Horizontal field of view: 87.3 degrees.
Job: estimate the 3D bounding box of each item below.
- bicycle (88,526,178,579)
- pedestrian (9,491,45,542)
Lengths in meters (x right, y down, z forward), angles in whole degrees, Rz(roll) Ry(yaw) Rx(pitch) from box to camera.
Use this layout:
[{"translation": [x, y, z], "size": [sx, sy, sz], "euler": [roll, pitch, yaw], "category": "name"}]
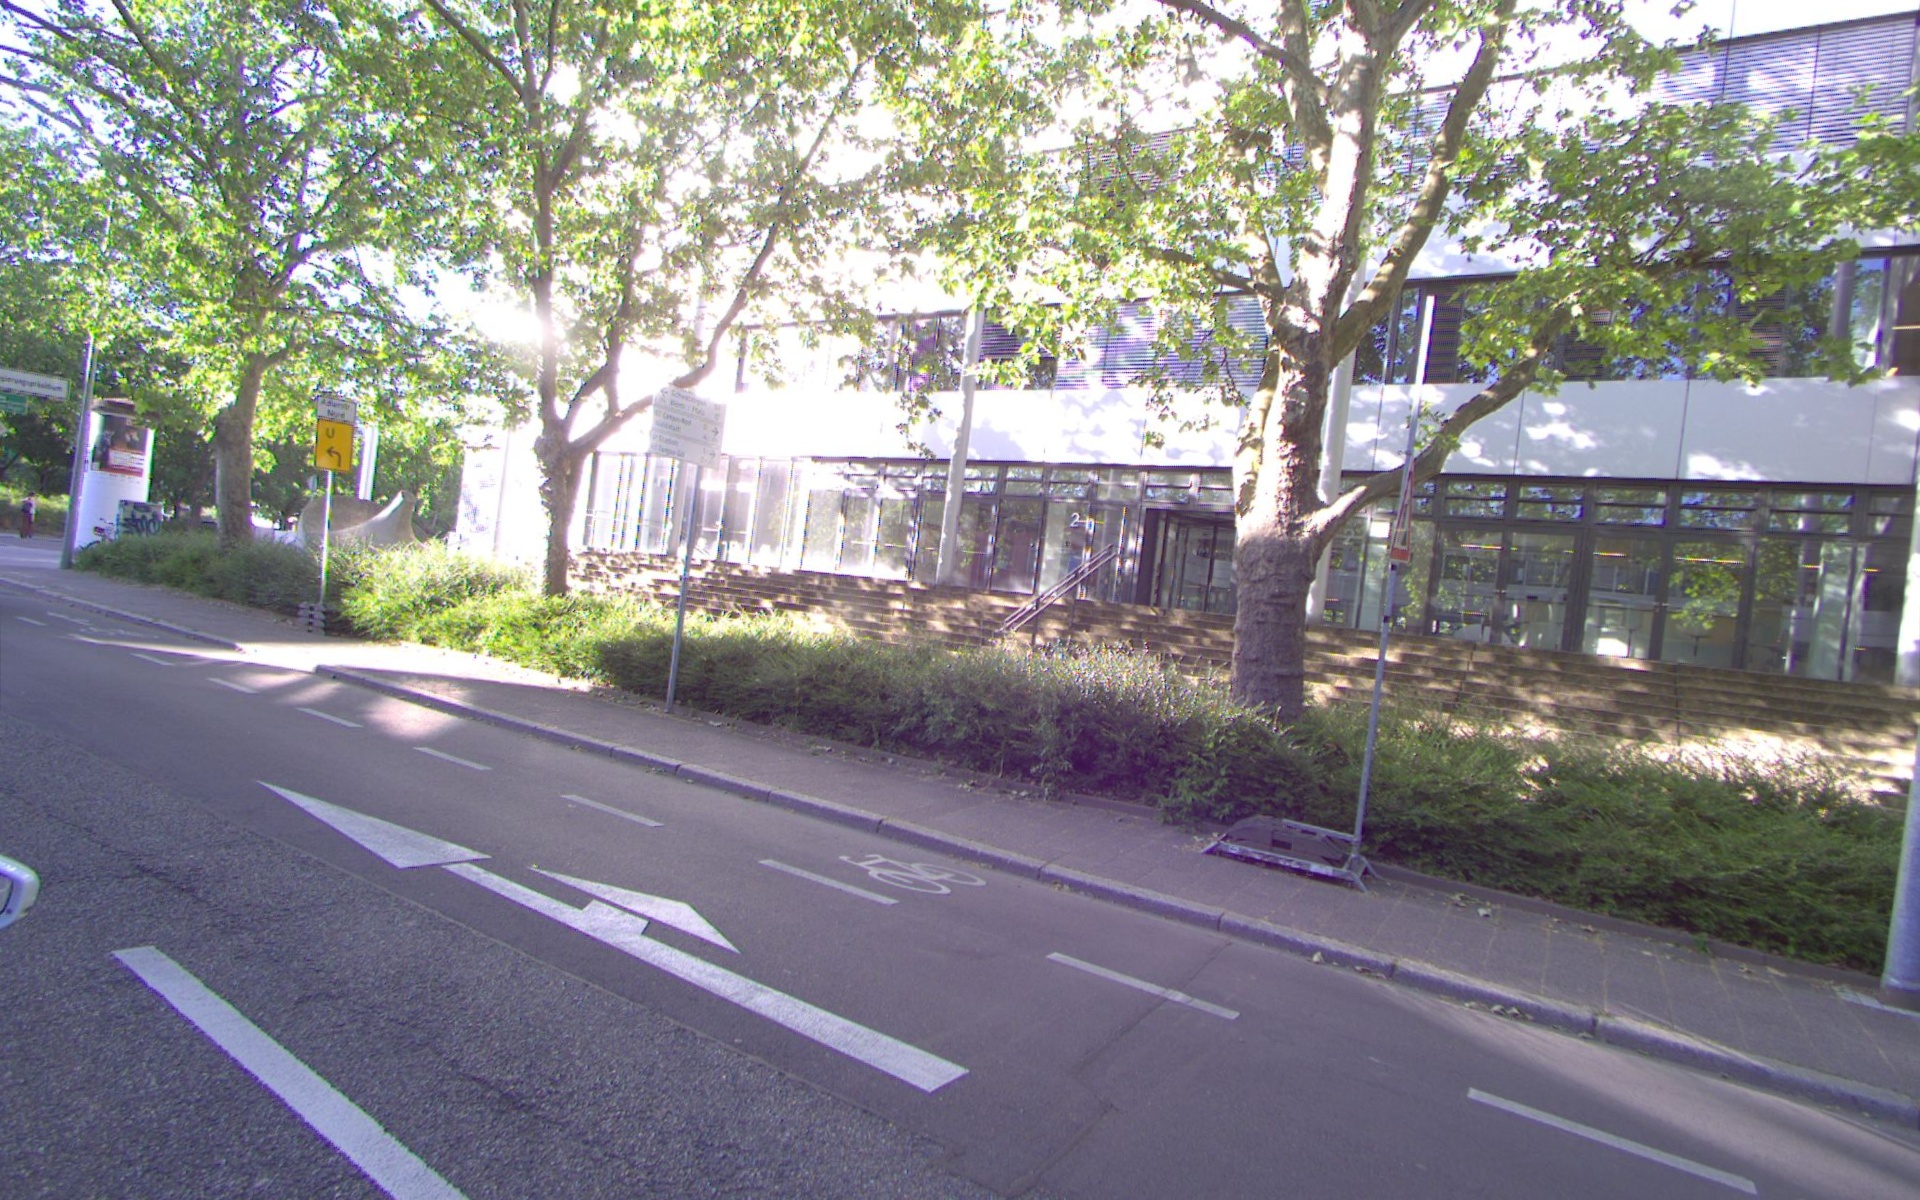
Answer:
[{"translation": [-19.036, -1.074, 23.175], "size": [0.295, 0.991, 1.484], "euler": [6, -2, 37], "category": "bicycle"}, {"translation": [-34.828, -3.110, 37.563], "size": [0.672, 1.793, 0.613], "euler": [8, -1, -29], "category": "pedestrian"}]
